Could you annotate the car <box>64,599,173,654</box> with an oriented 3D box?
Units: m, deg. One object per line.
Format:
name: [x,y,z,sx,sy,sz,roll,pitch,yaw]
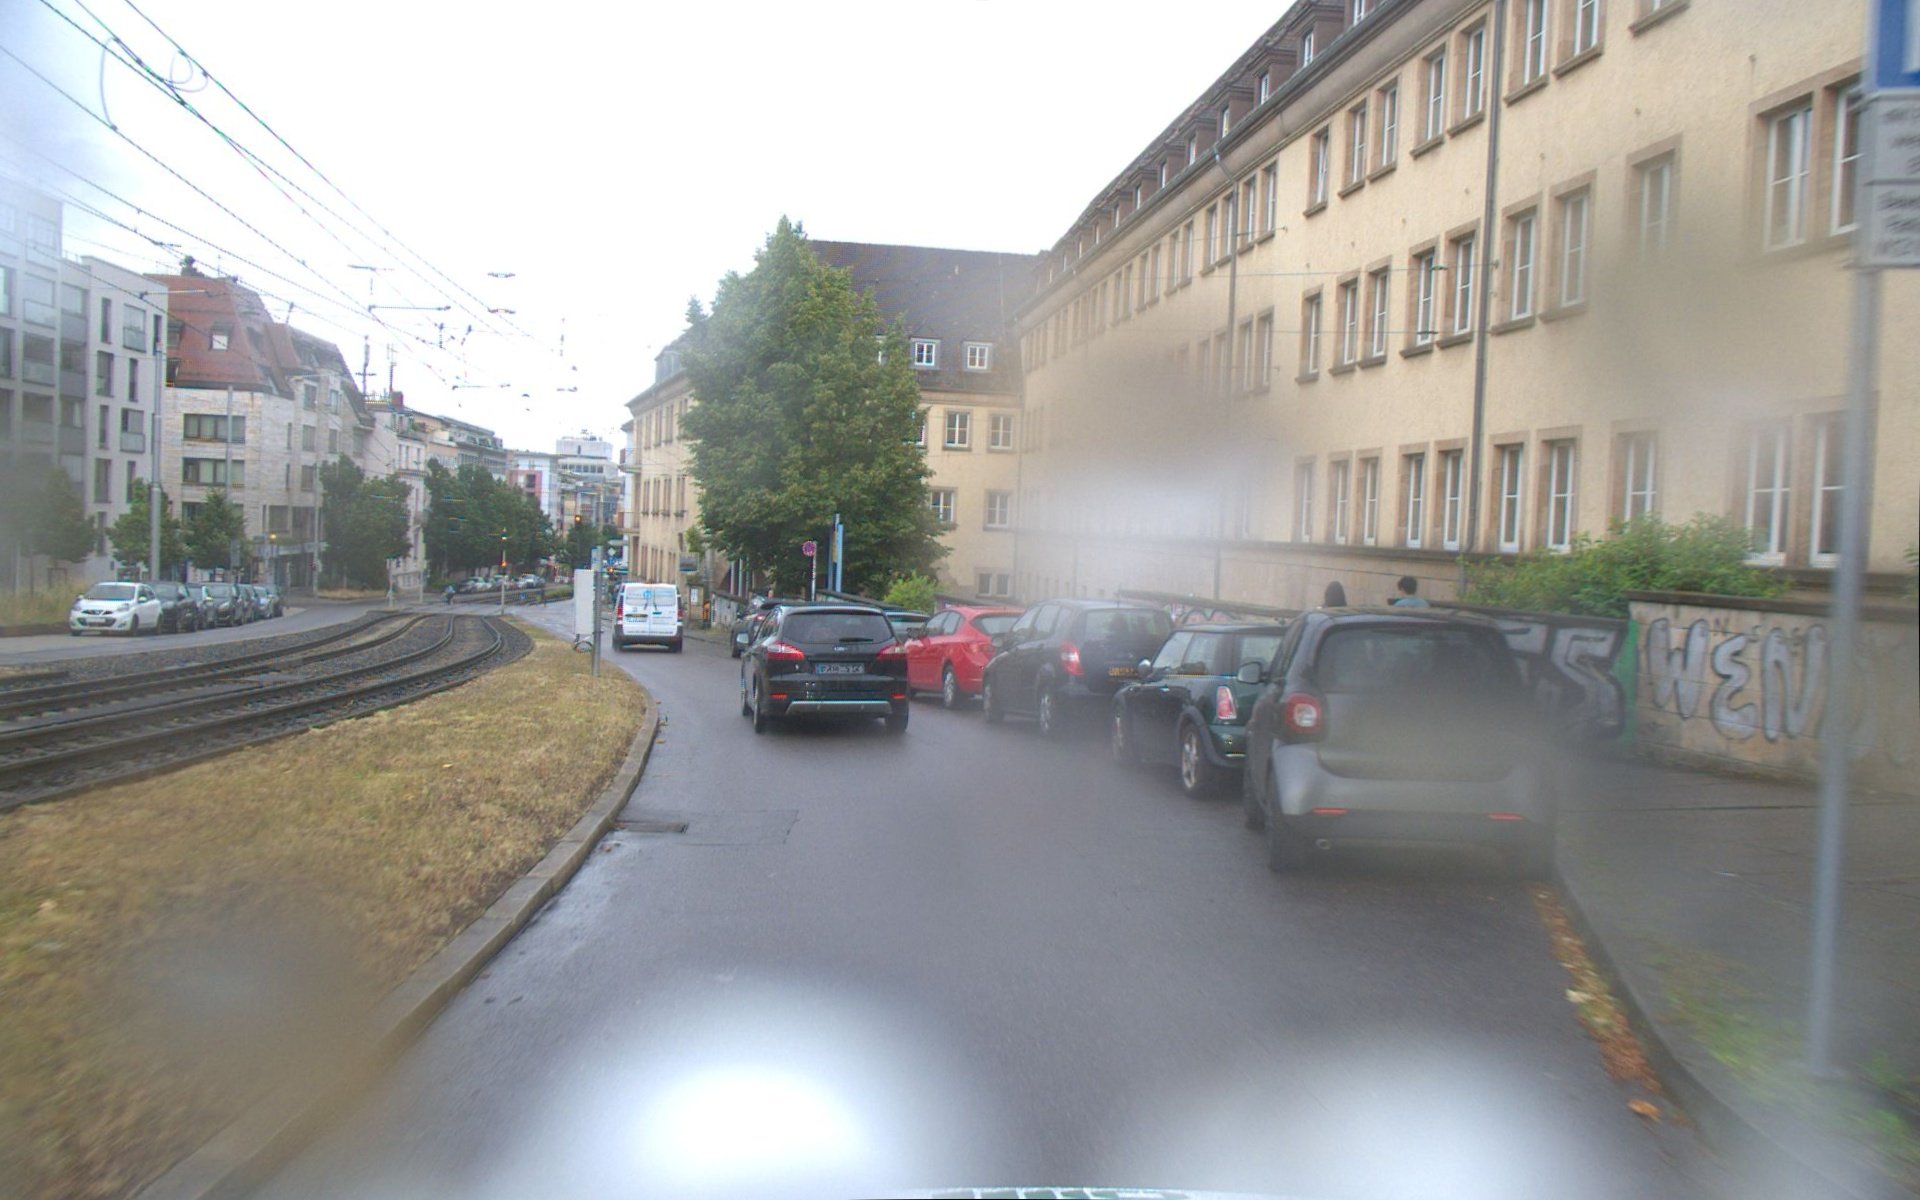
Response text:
car: [-24.417,0.750,48.098,1.733,1.505,3.726,2,-1,-10]

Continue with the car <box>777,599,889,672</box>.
car: [-2.837,0.746,36.221,1.639,1.502,4.090,1,0,-16]

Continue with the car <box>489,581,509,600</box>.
car: [-54.008,-1.104,193.834,1.959,2.049,3.988,2,-1,-12]

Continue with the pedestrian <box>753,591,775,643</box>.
pedestrian: [-6.688,0.565,56.446,0.622,1.751,0.708,2,-1,-16]

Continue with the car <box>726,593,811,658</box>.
car: [-4.904,0.616,41.898,1.637,1.551,4.094,1,0,-14]

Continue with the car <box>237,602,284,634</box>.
car: [-35.026,0.878,82.884,1.884,1.530,4.211,2,-1,-20]

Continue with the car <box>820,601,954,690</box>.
car: [-1.424,0.787,30.457,1.637,1.502,4.441,1,0,-14]

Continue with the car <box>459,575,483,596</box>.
car: [-50.421,-1.441,170.480,1.959,2.049,3.988,2,-1,-12]

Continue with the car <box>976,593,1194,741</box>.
car: [1.399,0.750,20.034,1.636,1.600,3.844,1,-1,-12]

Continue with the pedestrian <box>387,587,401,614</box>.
pedestrian: [-42.307,0.021,123.659,0.892,1.965,0.820,2,-1,-21]

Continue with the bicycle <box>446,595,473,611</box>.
bicycle: [-35.609,0.203,117.696,1.785,1.082,0.451,4,-1,-40]

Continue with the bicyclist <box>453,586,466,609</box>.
bicyclist: [-35.616,-0.181,117.684,0.695,1.601,0.456,4,-2,-39]

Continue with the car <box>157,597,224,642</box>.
car: [-26.733,0.667,57.540,1.524,1.460,3.435,2,-1,-16]

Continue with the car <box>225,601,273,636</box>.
car: [-32.722,0.823,76.143,1.746,1.530,4.059,2,-1,-20]

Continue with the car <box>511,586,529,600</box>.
car: [-55.090,-0.907,207.054,1.959,1.691,3.988,2,-1,-12]

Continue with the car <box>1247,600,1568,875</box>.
car: [2.709,0.765,10.525,1.564,1.491,2.722,1,0,6]

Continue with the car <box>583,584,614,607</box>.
car: [-30.002,-0.363,137.372,1.955,1.803,3.995,2,-1,-6]

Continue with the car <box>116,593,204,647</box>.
car: [-25.282,0.624,52.404,1.737,1.588,4.386,2,-1,-16]

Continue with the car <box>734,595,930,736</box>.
car: [-1.666,0.724,20.187,1.886,1.505,3.988,1,0,-12]

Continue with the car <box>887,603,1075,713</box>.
car: [0.234,0.836,25.377,1.640,1.502,4.045,3,-1,-18]

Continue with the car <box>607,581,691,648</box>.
car: [-8.837,0.387,46.722,2.100,1.776,4.204,1,0,-13]

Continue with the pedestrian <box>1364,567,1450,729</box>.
pedestrian: [5.043,0.536,18.694,0.704,1.785,0.738,1,-1,-5]

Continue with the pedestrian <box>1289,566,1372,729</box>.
pedestrian: [4.154,0.522,18.585,0.704,1.785,0.738,1,-1,-5]

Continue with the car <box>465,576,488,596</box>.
car: [-51.624,-1.459,176.653,1.959,2.049,3.988,2,-1,-12]

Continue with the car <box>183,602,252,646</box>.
car: [-27.985,0.893,62.444,1.691,1.540,4.299,2,-1,-16]

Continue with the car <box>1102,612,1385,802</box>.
car: [2.348,0.841,14.541,1.506,1.441,3.639,1,0,-6]
